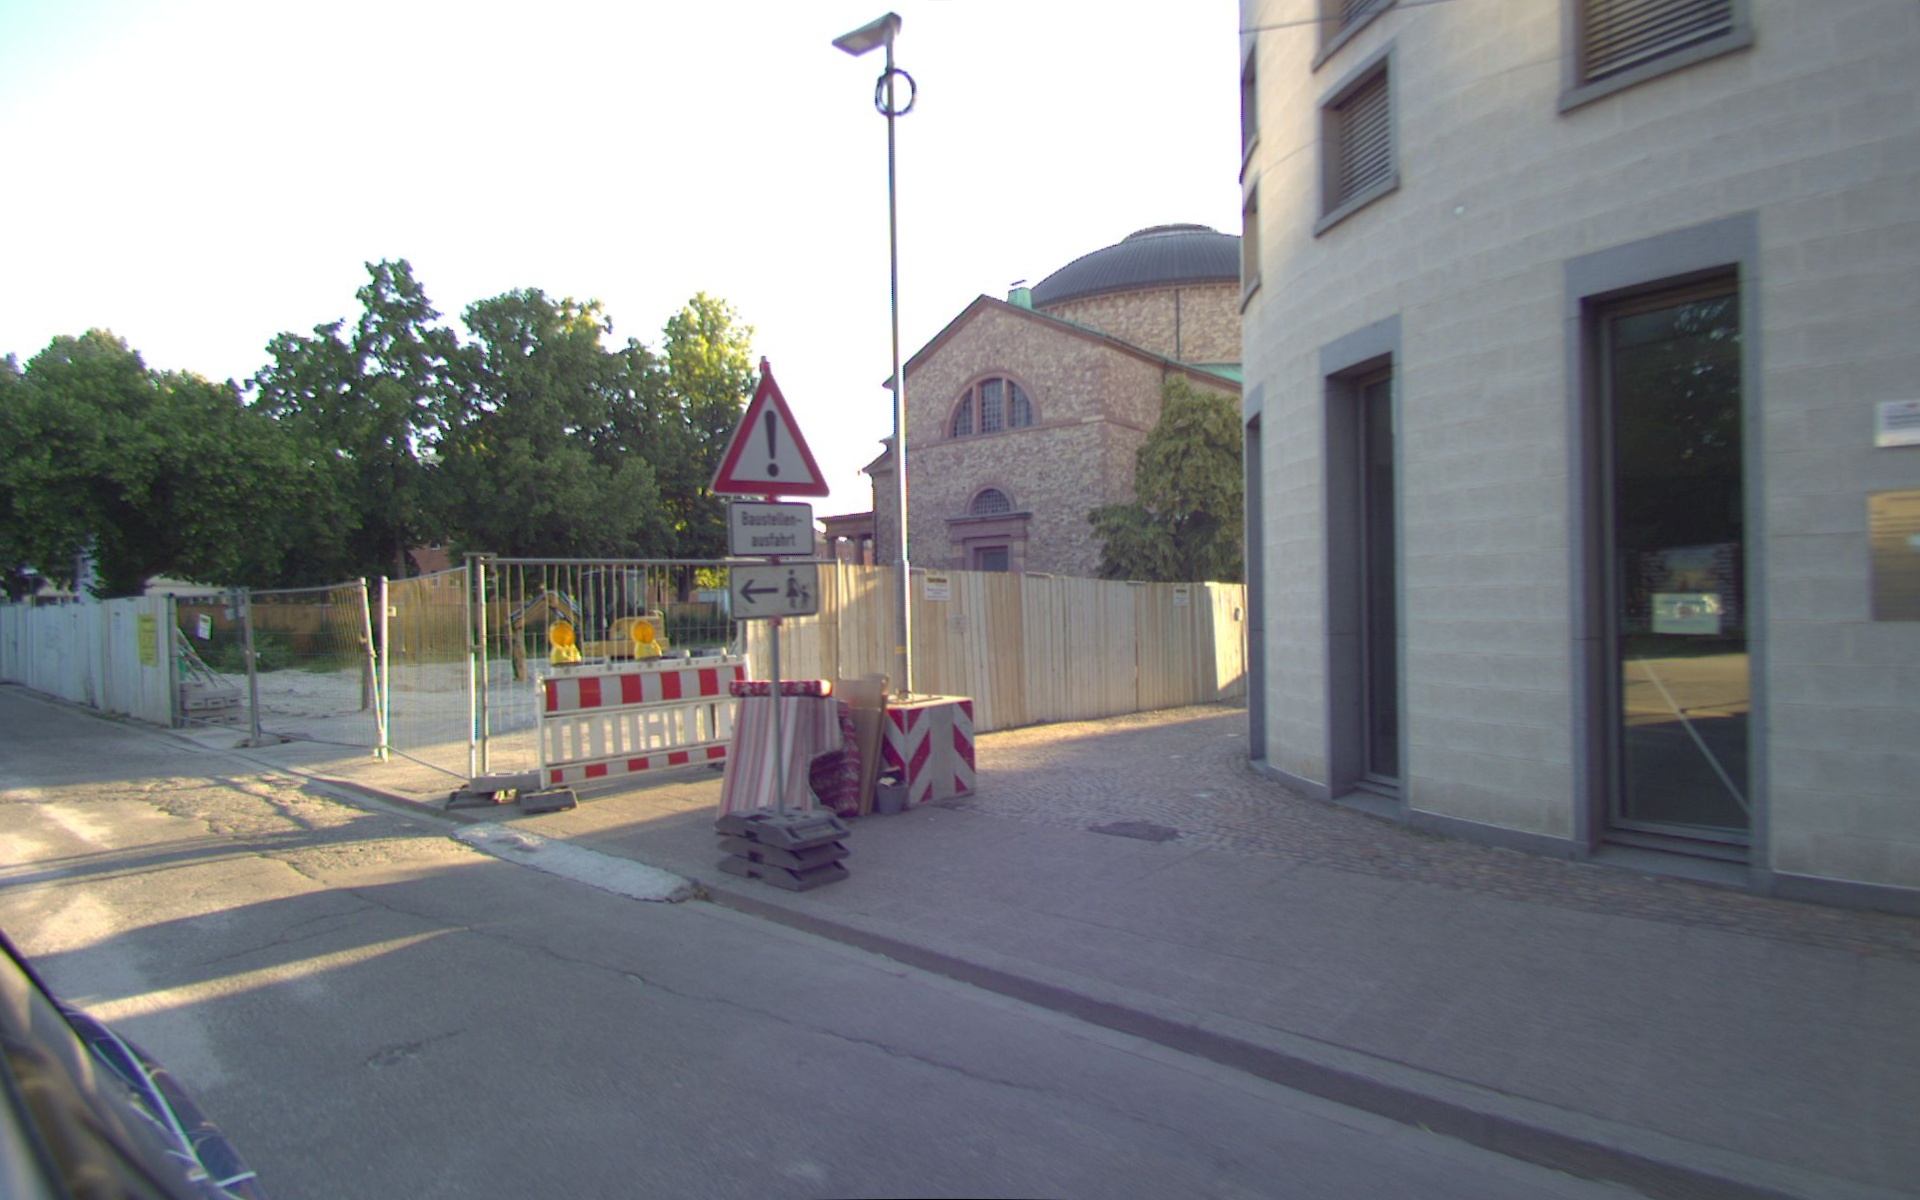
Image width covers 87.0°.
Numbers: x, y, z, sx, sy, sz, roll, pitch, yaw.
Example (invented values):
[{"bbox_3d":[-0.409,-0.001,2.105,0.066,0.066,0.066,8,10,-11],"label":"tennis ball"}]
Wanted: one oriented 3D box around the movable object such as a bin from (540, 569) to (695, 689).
[{"bbox_3d":[-7.969,0.671,23.667,2.726,2.623,2.146,-1,-1,19],"label":"movable object such as a bin"}]
